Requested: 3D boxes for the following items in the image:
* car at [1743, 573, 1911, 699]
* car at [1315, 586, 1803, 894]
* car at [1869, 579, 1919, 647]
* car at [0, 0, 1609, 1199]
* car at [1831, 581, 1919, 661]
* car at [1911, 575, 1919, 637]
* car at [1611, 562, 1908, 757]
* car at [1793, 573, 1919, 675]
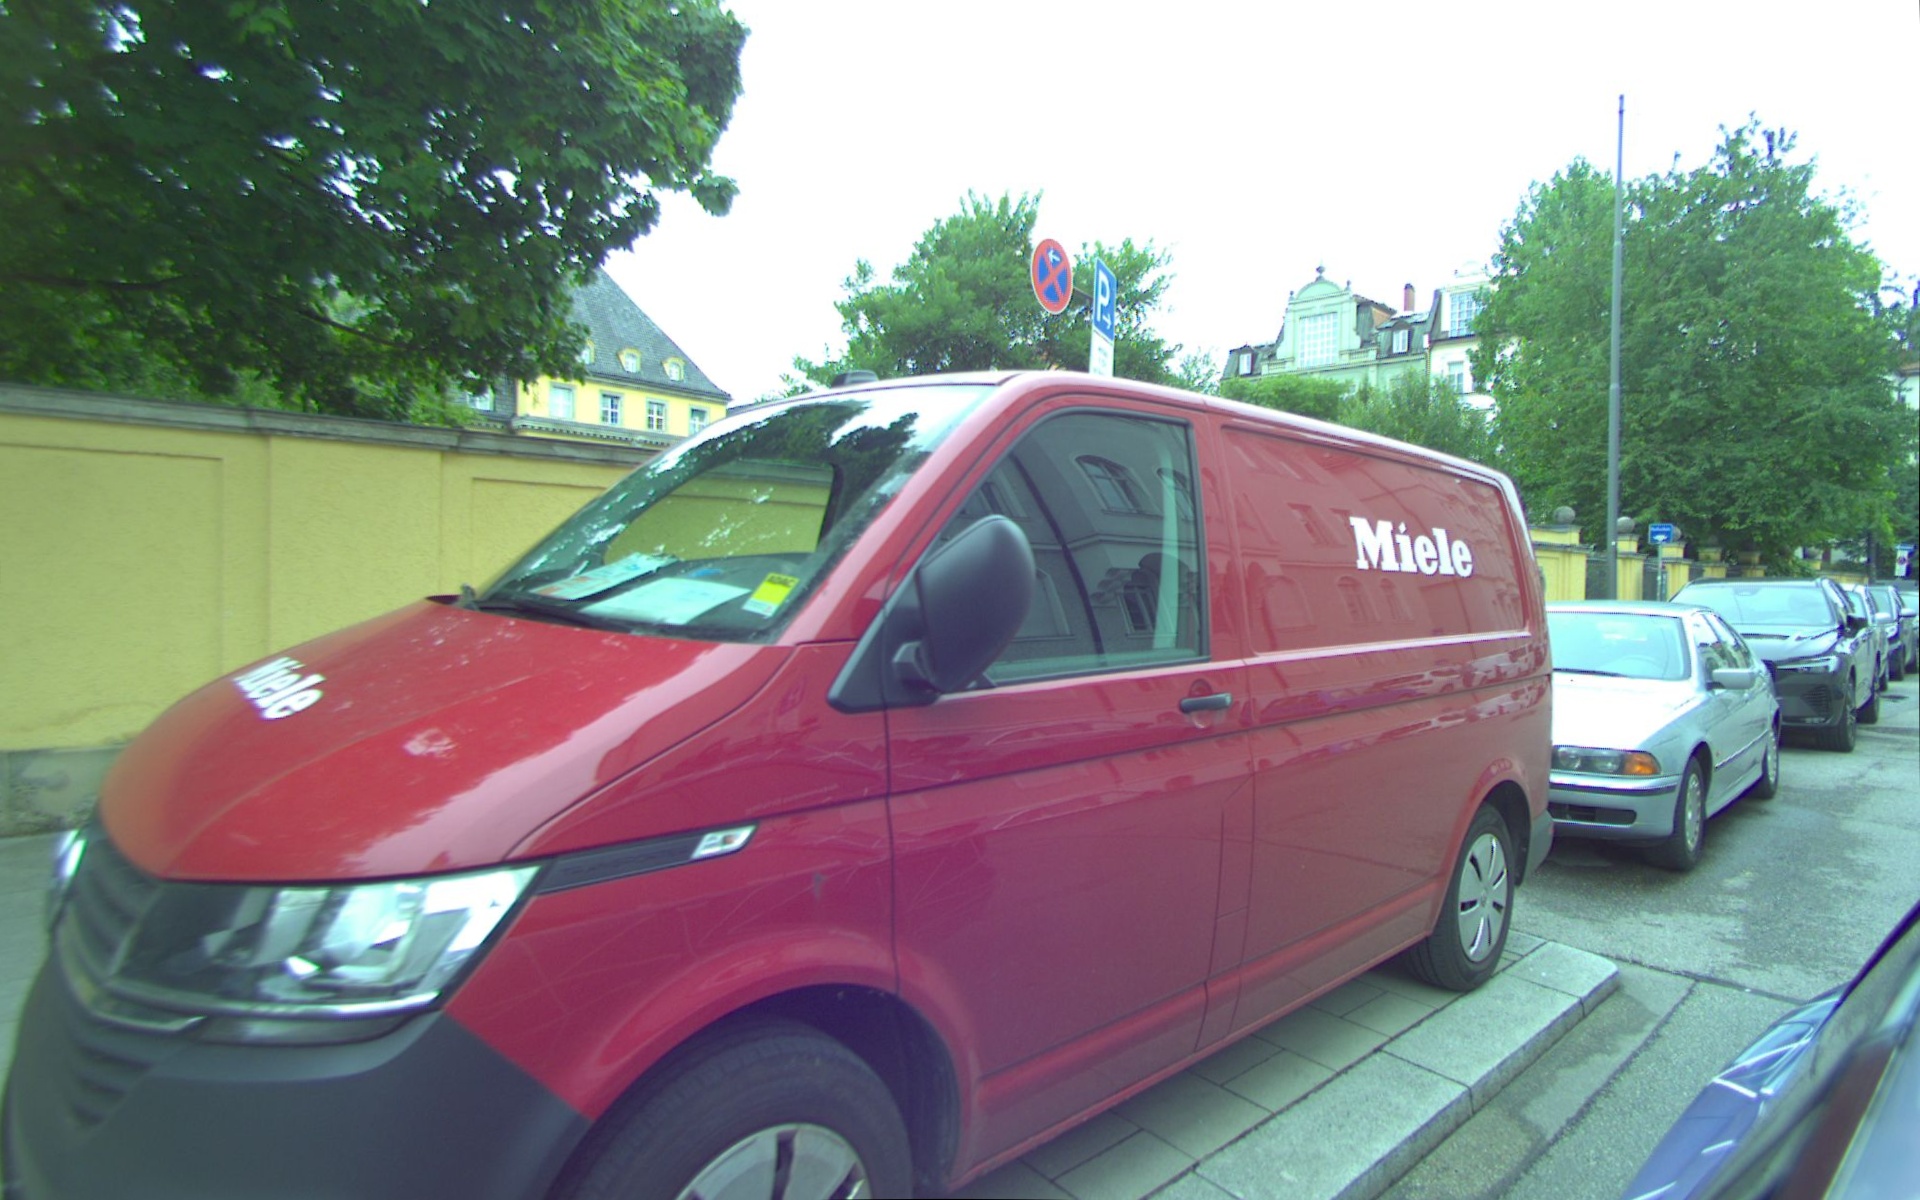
[{"bbox_3d":[12.327,0.419,14.320,3.632,1.559,1.485,-1,0,-44],"label":"car"},{"bbox_3d":[4.363,0.650,7.034,4.297,1.467,1.885,-1,0,-44],"label":"car"},{"bbox_3d":[22.225,0.273,23.030,4.436,1.432,1.695,-1,3,-41],"label":"car"},{"bbox_3d":[0.243,0.323,3.185,4.804,1.945,1.876,-1,1,-43],"label":"car"},{"bbox_3d":[18.495,0.353,19.853,3.968,1.432,1.694,-1,0,-43],"label":"car"},{"bbox_3d":[26.744,0.162,26.867,4.610,1.590,1.716,-1,3,-41],"label":"car"},{"bbox_3d":[8.842,0.485,11.015,4.743,1.674,1.886,-1,0,-44],"label":"car"},{"bbox_3d":[15.521,0.352,17.284,2.819,1.586,1.510,-1,0,-40],"label":"car"}]
